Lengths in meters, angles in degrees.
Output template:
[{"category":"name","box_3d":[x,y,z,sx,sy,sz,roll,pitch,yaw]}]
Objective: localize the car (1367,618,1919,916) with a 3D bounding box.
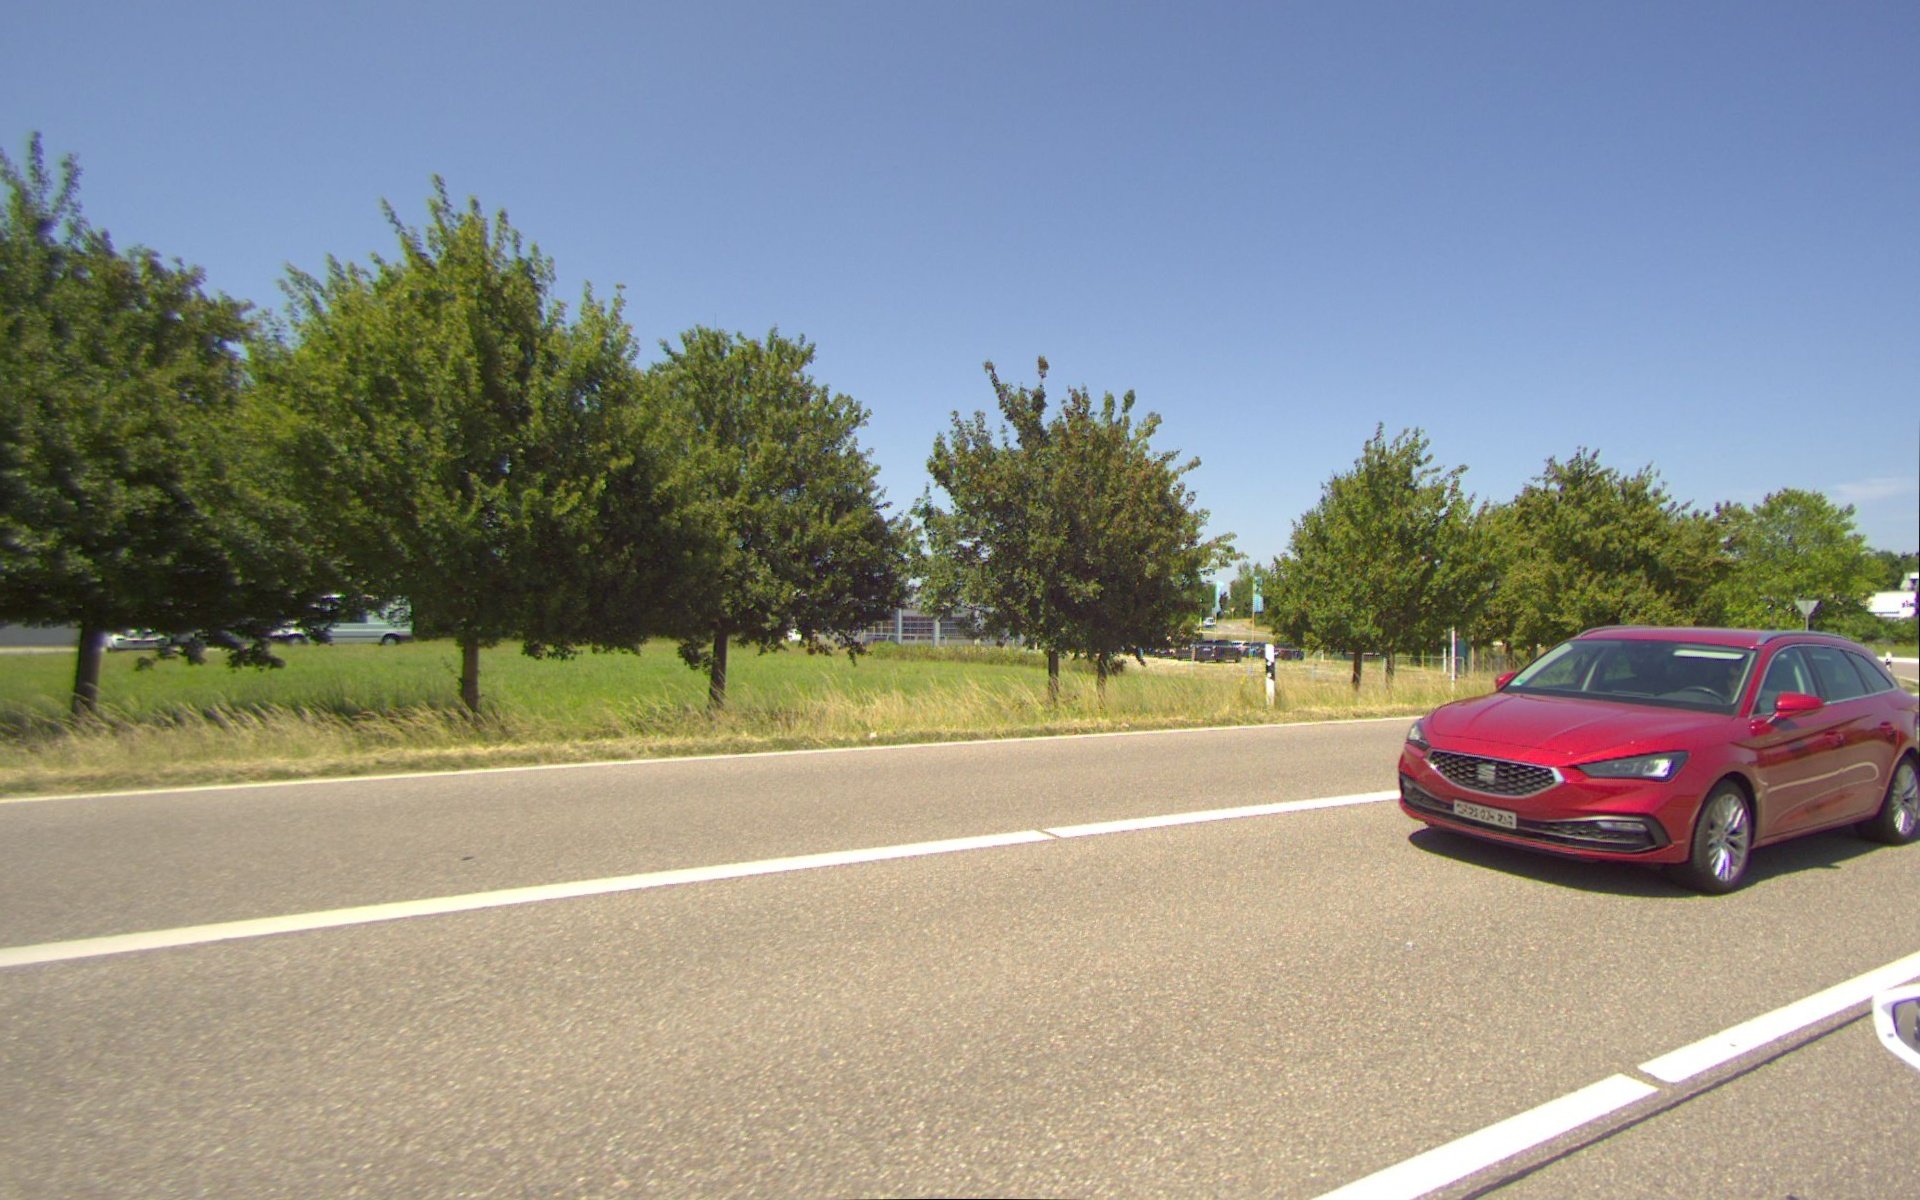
[{"category":"car","box_3d":[5.029,0.894,6.948,4.573,1.430,1.733,1,0,-32]}]

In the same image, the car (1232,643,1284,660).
[{"category":"car","box_3d":[26.249,4.528,88.619,3.923,1.412,1.999,1,-1,-4]}]

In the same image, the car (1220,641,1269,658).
[{"category":"car","box_3d":[25.935,4.532,91.656,3.923,1.412,1.999,1,-1,-4]}]

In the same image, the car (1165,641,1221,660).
[{"category":"car","box_3d":[18.435,4.003,79.540,3.923,1.412,1.999,1,-1,-4]}]

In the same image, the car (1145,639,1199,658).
[{"category":"car","box_3d":[17.445,3.981,82.644,3.923,1.412,1.999,1,-1,-4]}]

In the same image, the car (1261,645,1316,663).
[{"category":"car","box_3d":[27.724,4.565,84.822,3.923,1.412,1.999,1,-1,-4]}]

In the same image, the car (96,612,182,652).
[{"category":"car","box_3d":[-31.649,1.211,38.698,3.943,1.372,1.989,1,-1,42]}]

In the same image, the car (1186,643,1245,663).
[{"category":"car","box_3d":[19.309,4.014,76.124,3.923,1.412,1.999,1,-1,-4]}]

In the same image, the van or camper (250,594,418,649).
[{"category":"van or camper","box_3d":[-29.140,1.056,46.898,6.476,2.394,2.445,2,-1,-36]}]

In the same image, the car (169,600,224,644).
[{"category":"car","box_3d":[-37.413,1.072,49.289,1.981,2.040,3.959,2,-1,-36]}]
